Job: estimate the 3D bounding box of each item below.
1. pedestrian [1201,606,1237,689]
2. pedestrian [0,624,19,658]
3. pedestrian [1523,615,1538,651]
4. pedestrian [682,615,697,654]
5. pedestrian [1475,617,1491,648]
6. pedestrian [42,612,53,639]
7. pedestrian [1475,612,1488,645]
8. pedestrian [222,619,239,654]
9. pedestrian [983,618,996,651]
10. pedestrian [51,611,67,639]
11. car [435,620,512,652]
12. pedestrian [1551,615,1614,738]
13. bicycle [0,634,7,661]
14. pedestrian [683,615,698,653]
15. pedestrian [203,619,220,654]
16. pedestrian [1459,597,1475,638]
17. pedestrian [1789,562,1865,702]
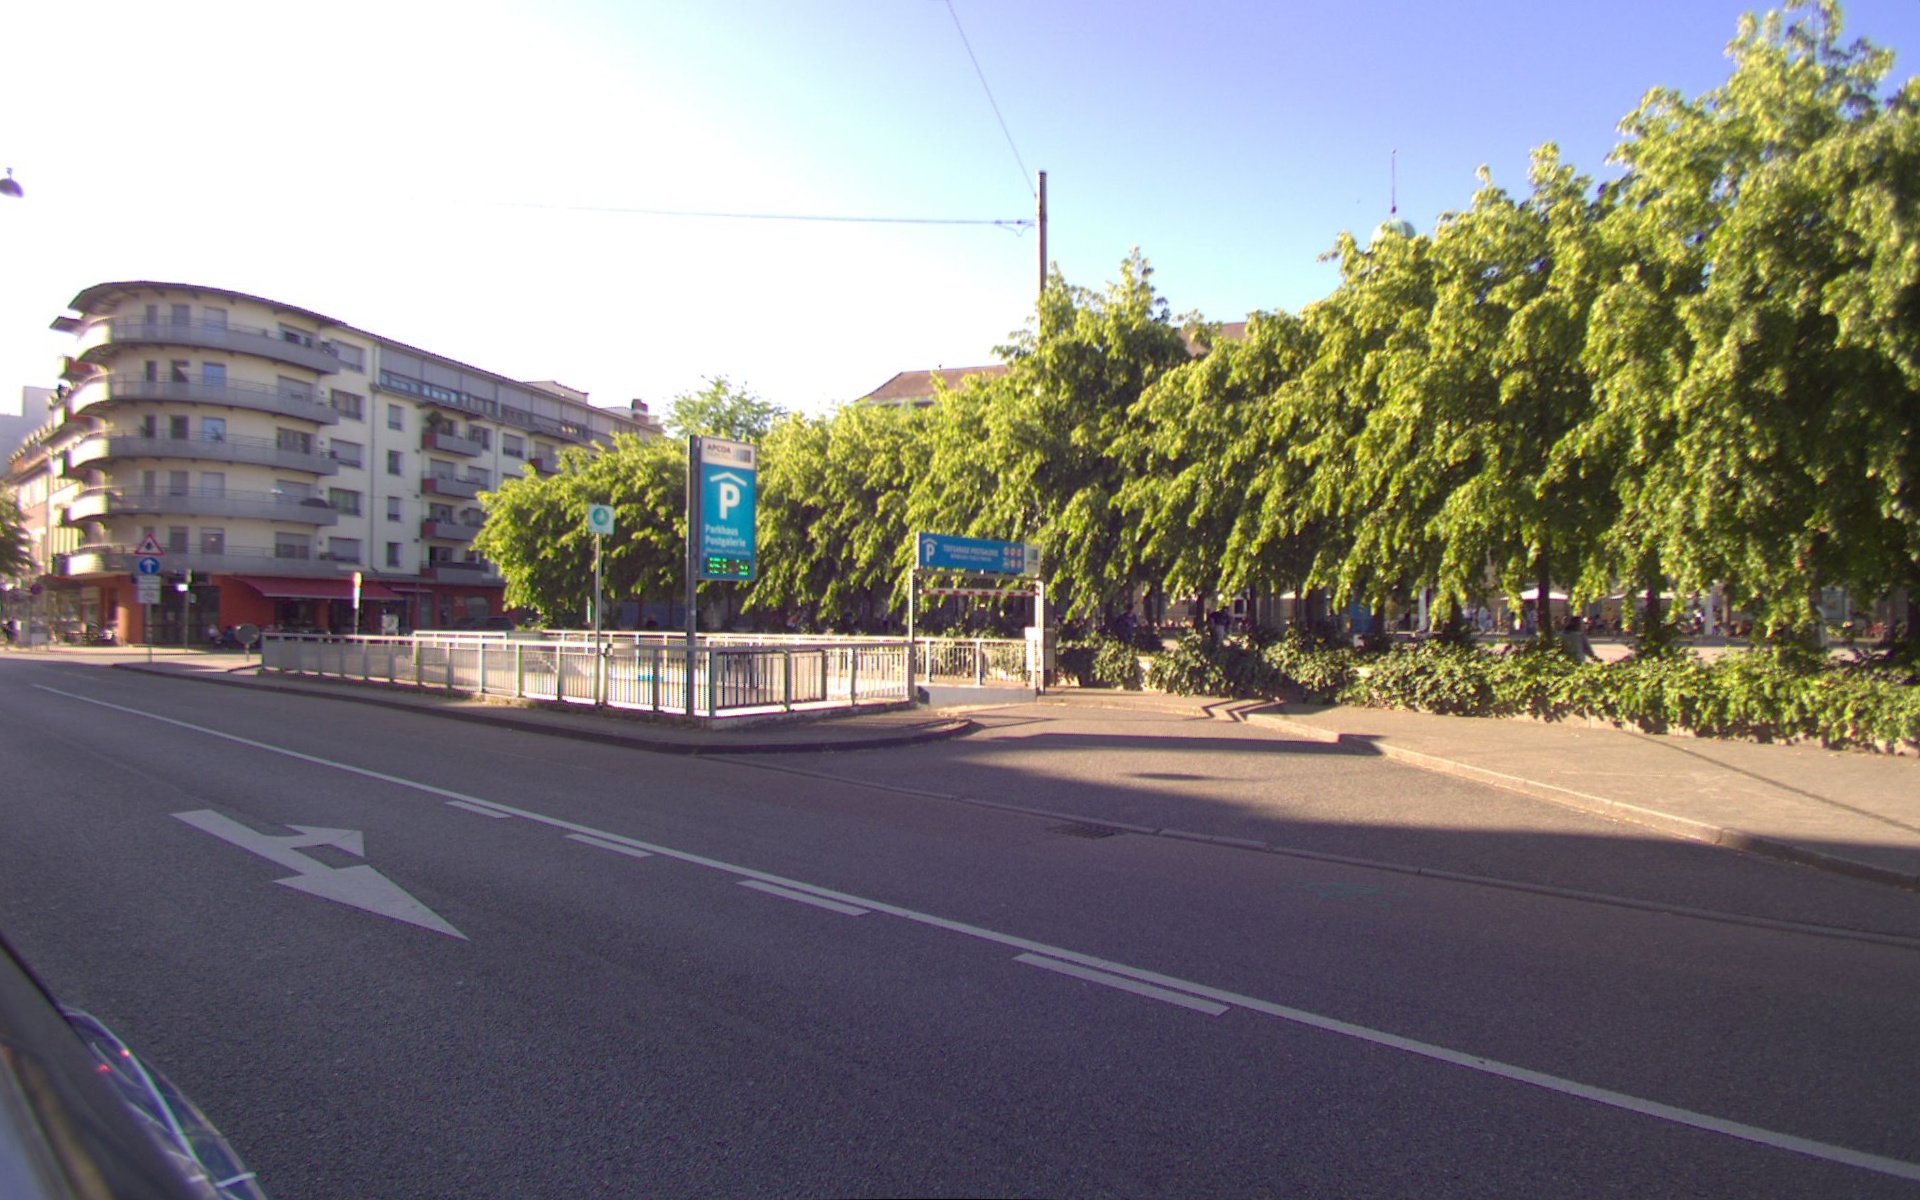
[{"bbox_3d":[6.004,1.086,23.430,0.674,1.870,0.577,-1,-1,30],"label":"pedestrian"},{"bbox_3d":[-46.342,1.997,49.197,0.695,1.627,0.765,-1,-1,37],"label":"pedestrian"},{"bbox_3d":[29.250,1.679,51.899,0.580,1.806,0.596,-1,0,27],"label":"pedestrian"},{"bbox_3d":[-12.570,1.600,47.073,0.574,1.806,0.602,0,0,-5],"label":"pedestrian"},{"bbox_3d":[30.977,1.899,59.926,0.593,1.806,0.583,-1,0,0],"label":"pedestrian"},{"bbox_3d":[-51.979,1.449,57.672,0.515,1.541,0.371,-1,-1,37],"label":"pedestrian"},{"bbox_3d":[29.101,1.573,56.470,0.598,1.806,0.577,-1,-1,27],"label":"pedestrian"},{"bbox_3d":[-36.735,1.832,50.969,0.642,1.721,0.568,-2,-2,43],"label":"pedestrian"},{"bbox_3d":[1.648,1.932,56.917,0.578,1.806,0.597,-1,0,20],"label":"pedestrian"},{"bbox_3d":[-51.709,1.432,58.089,0.792,1.634,0.563,-1,-1,37],"label":"pedestrian"},{"bbox_3d":[-30.430,2.209,63.416,1.938,1.927,4.403,-1,-1,16],"label":"car"},{"bbox_3d":[9.803,1.175,15.946,0.732,1.870,0.574,-1,-1,44],"label":"pedestrian"},{"bbox_3d":[-44.272,2.145,45.824,1.855,1.221,0.711,-1,-1,13],"label":"bicycle"},{"bbox_3d":[-12.832,1.609,48.206,0.574,1.806,0.601,-1,0,0],"label":"pedestrian"},{"bbox_3d":[-37.430,1.817,50.594,0.642,1.721,0.568,-2,-2,43],"label":"pedestrian"},{"bbox_3d":[22.568,0.780,45.043,0.599,1.806,0.576,-1,-1,31],"label":"pedestrian"},{"bbox_3d":[11.869,0.428,13.871,0.597,1.870,0.578,-1,0,22],"label":"pedestrian"}]
